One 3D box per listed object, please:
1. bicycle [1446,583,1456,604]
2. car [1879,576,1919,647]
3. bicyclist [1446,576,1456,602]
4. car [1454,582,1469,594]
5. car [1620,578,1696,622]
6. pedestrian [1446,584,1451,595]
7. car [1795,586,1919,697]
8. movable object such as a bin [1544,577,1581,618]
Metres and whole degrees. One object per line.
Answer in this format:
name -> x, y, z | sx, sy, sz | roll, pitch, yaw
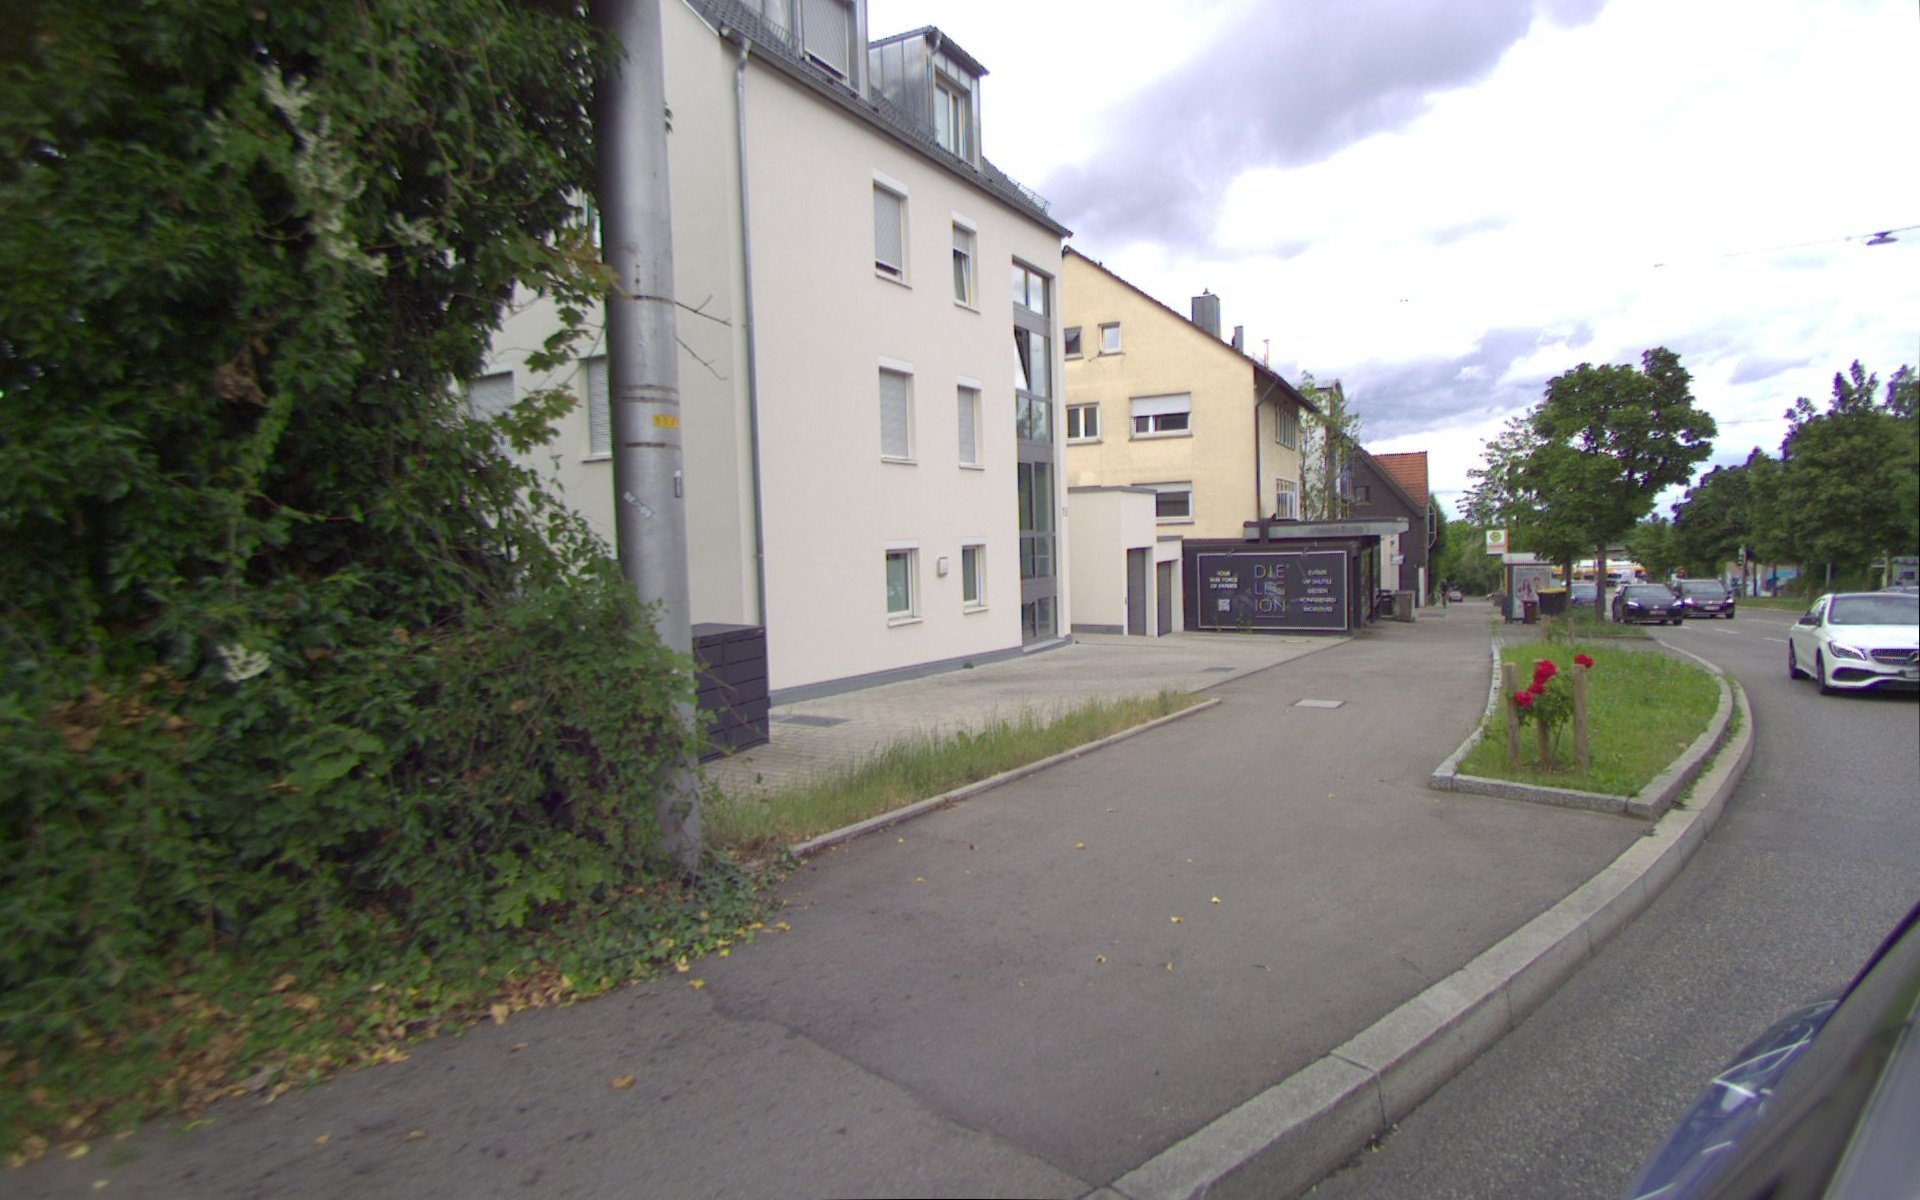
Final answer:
bicycle -> 30.949, -0.410, 63.739 | 0.567, 1.278, 2.020 | 0, 0, 26
car -> 21.115, 0.229, 21.010 | 1.898, 1.500, 4.358 | -1, 0, 27
bicyclist -> 30.824, -0.678, 63.493 | 0.534, 1.654, 0.938 | -1, 0, 27
car -> 73.041, -1.703, 147.419 | 1.905, 1.672, 3.964 | -1, 0, 26
car -> 26.080, -0.010, 37.954 | 1.761, 1.561, 3.963 | -1, 0, 27
pedestrian -> 67.954, -1.451, 140.780 | 0.706, 1.489, 0.689 | -2, -1, 26
car -> 13.545, 0.517, 14.608 | 1.805, 1.416, 3.953 | -1, 0, 33
movable object such as a bin -> 22.335, -0.104, 37.565 | 1.079, 1.500, 1.522 | -1, 0, 28
